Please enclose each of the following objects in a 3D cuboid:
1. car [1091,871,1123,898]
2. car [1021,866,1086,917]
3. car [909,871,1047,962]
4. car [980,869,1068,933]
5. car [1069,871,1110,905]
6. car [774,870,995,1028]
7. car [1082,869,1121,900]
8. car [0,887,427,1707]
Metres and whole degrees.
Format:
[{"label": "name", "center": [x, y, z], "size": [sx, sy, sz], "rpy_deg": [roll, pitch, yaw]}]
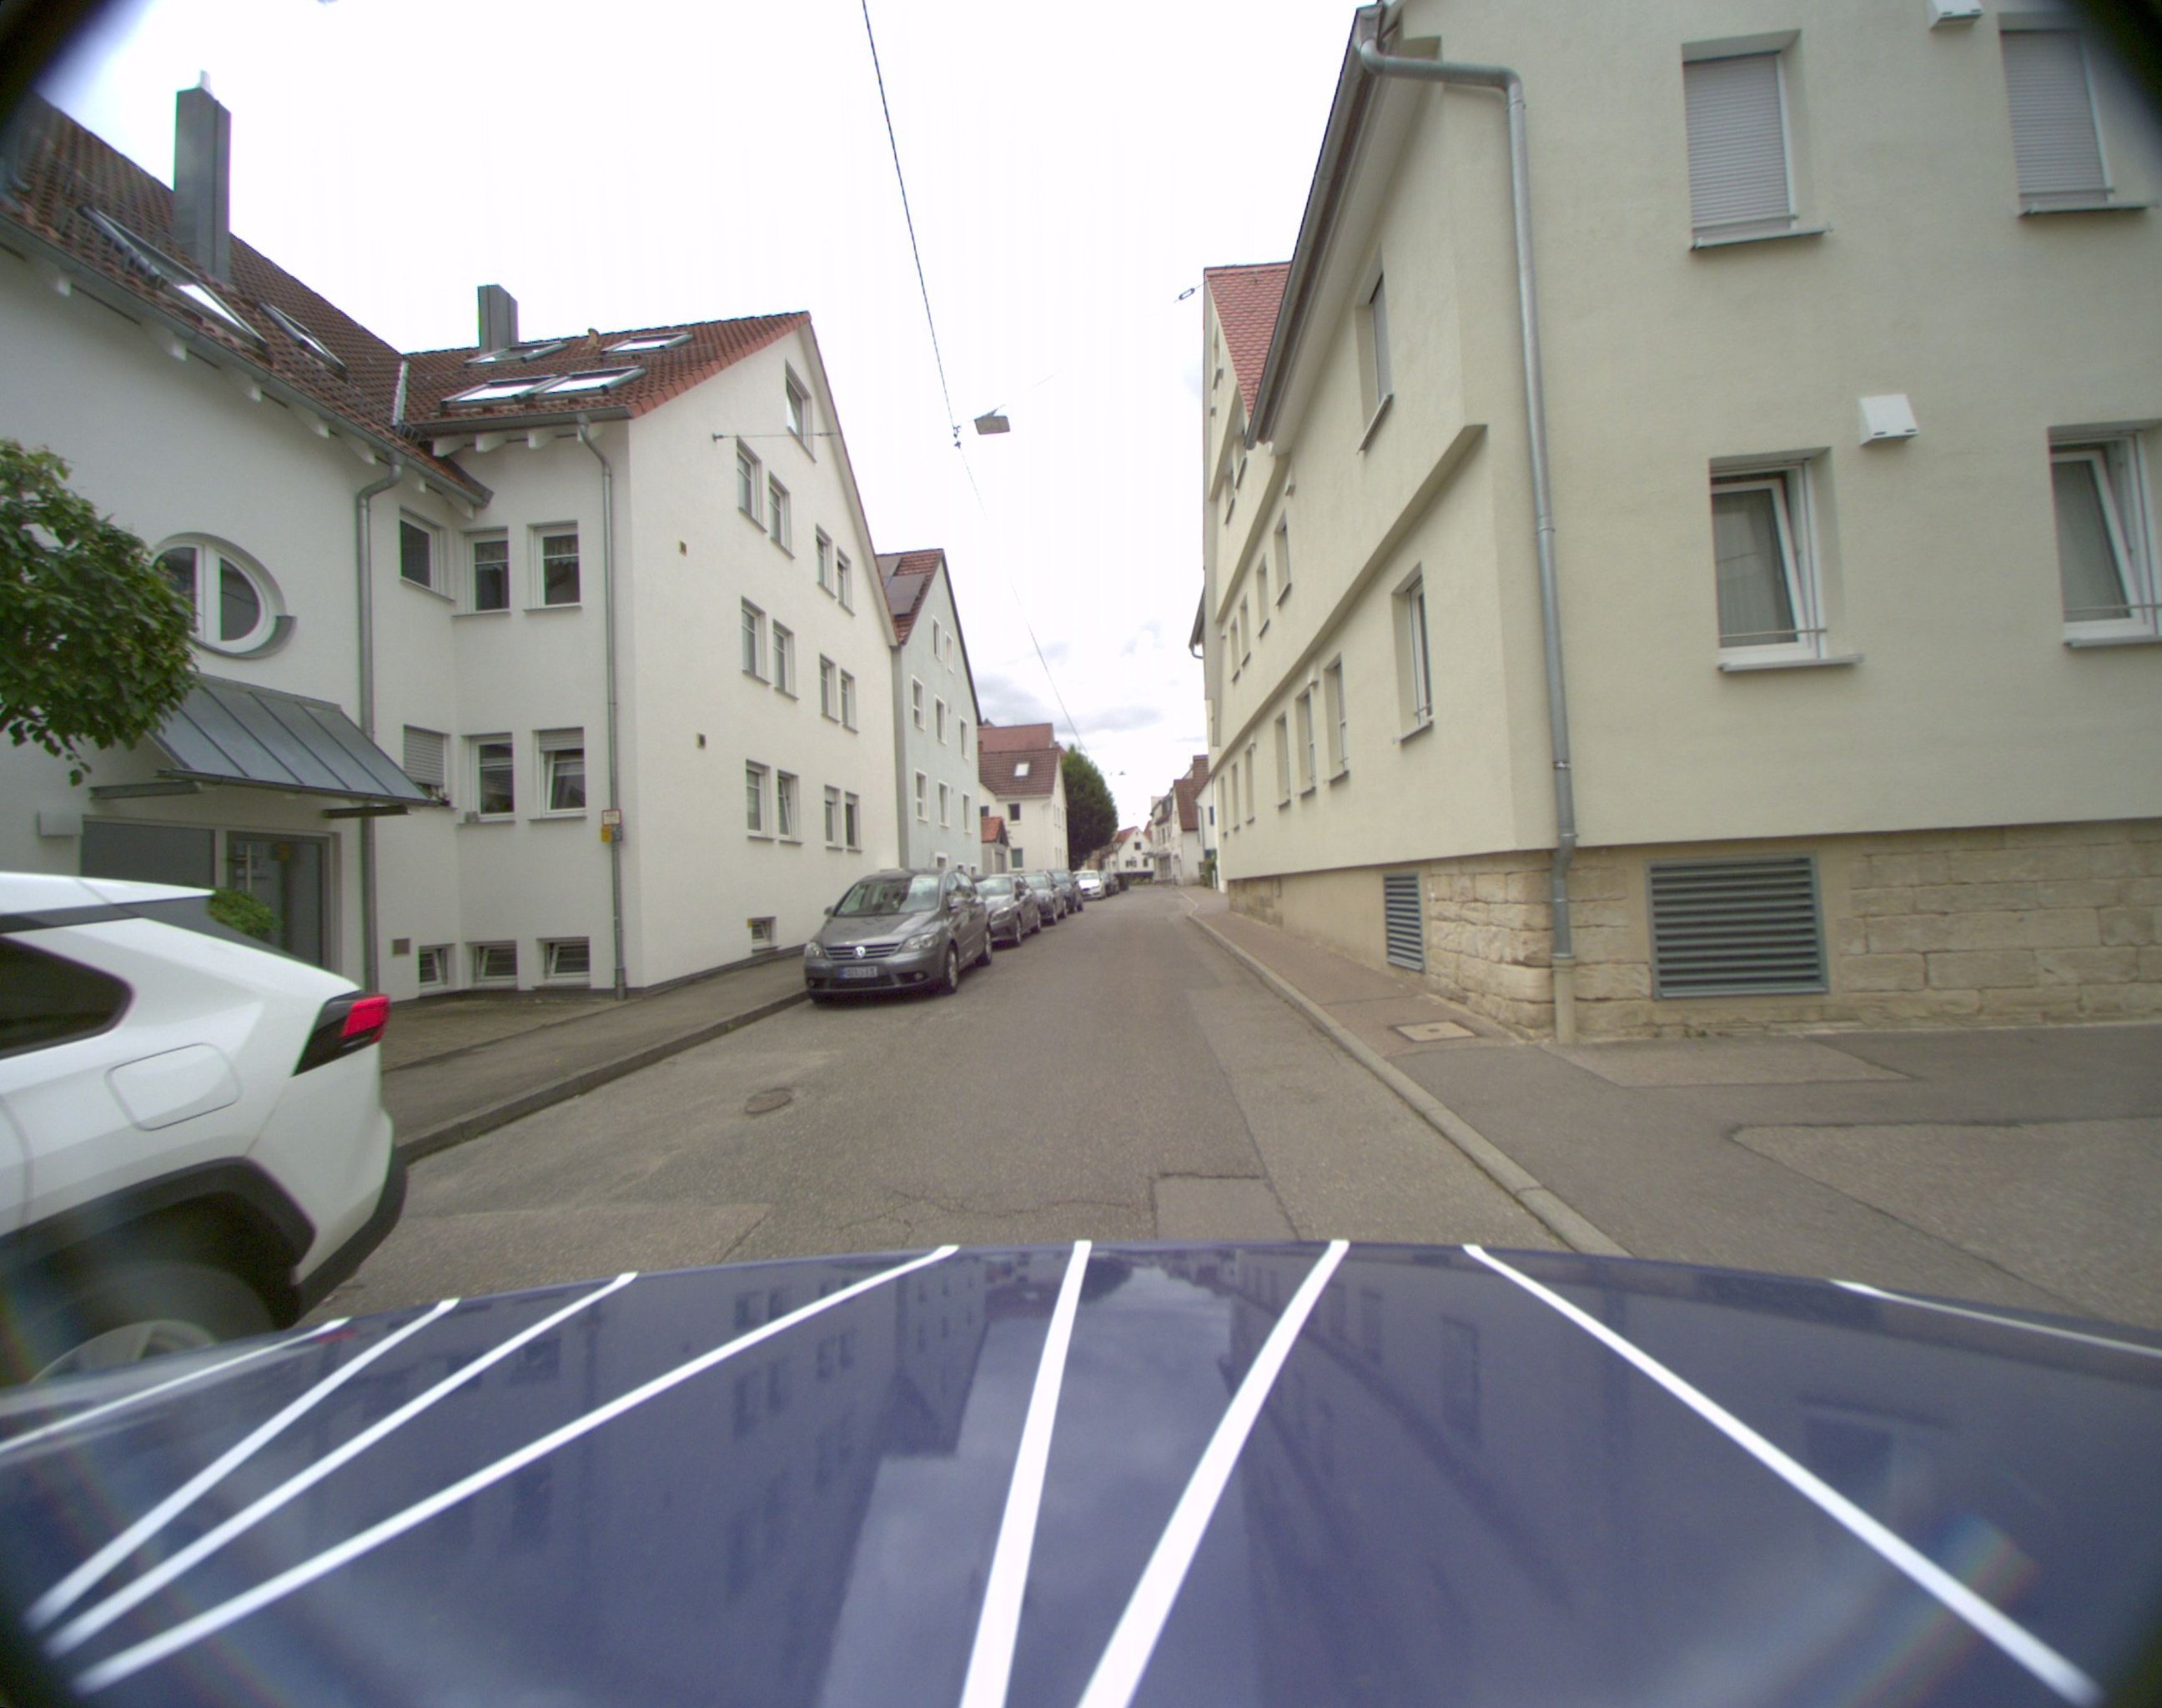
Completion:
[{"label": "car", "center": [1.799, 2.013, 51.286], "size": [1.770, 1.583, 4.043], "rpy_deg": [-4, -1, 6]}, {"label": "car", "center": [-0.852, 1.230, 25.816], "size": [1.642, 1.503, 3.843], "rpy_deg": [-4, -2, 5]}, {"label": "car", "center": [-1.942, 1.165, 15.609], "size": [1.812, 1.434, 3.960], "rpy_deg": [-4, 0, 6]}, {"label": "car", "center": [-1.447, 1.203, 20.861], "size": [1.729, 1.434, 4.267], "rpy_deg": [-4, -1, 4]}, {"label": "car", "center": [0.491, 1.689, 38.795], "size": [1.770, 1.553, 4.042], "rpy_deg": [-4, -2, 4]}, {"label": "car", "center": [-2.396, 1.095, 10.327], "size": [1.739, 1.554, 3.909], "rpy_deg": [-4, 0, 2]}, {"label": "car", "center": [1.241, 1.758, 44.645], "size": [1.770, 1.610, 4.285], "rpy_deg": [-4, -2, 7]}, {"label": "car", "center": [-3.178, 0.960, 0.195], "size": [1.950, 1.630, 4.461], "rpy_deg": [-4, -1, 2]}]
